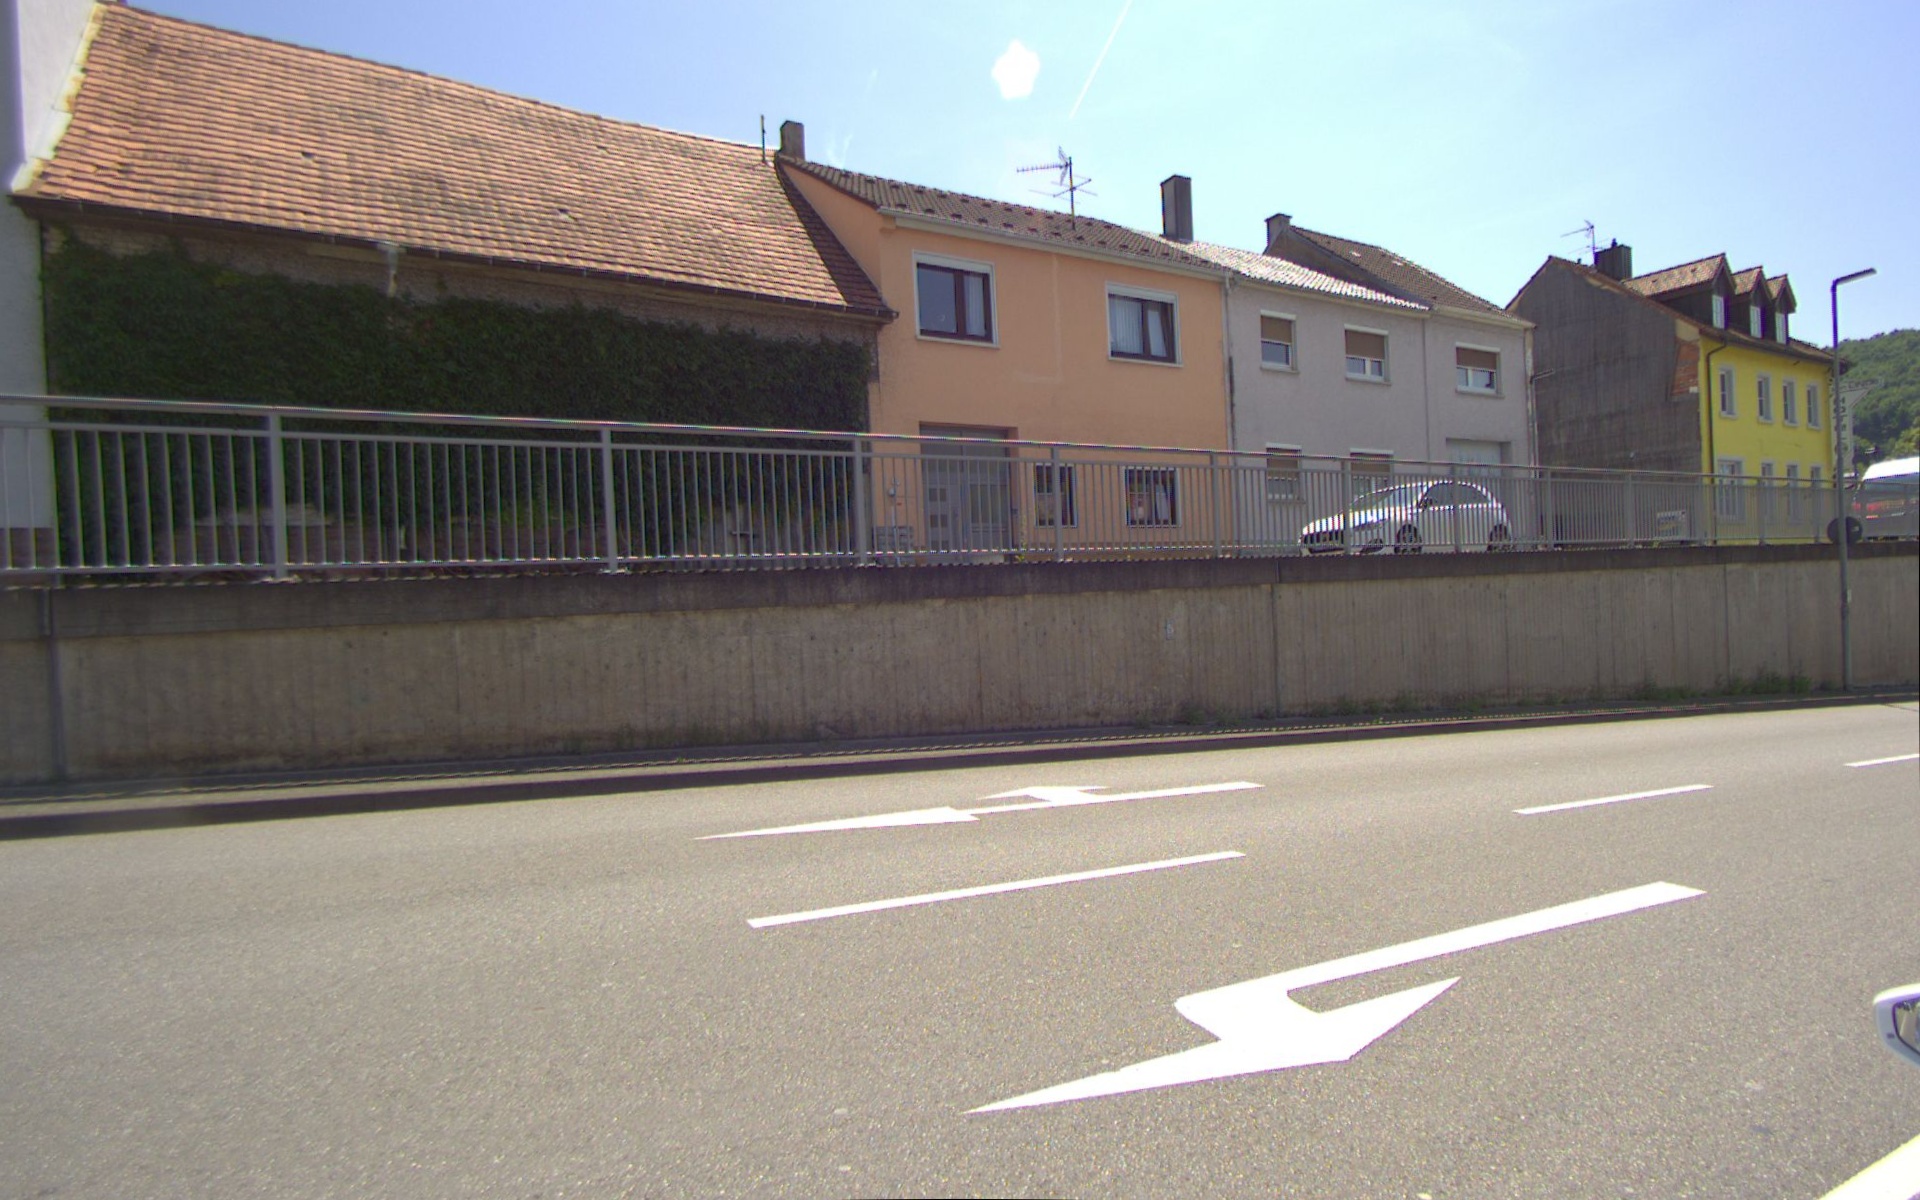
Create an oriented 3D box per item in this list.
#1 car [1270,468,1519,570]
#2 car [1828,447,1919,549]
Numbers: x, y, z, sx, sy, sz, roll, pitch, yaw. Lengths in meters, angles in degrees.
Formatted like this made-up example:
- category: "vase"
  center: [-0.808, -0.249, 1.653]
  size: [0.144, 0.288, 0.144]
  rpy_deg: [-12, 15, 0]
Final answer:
- category: "car"
  center: [7.388, -1.316, 16.956]
  size: [4.262, 1.482, 1.803]
  rpy_deg: [-3, 2, -33]
- category: "car"
  center: [26.701, -2.766, 27.993]
  size: [5.592, 2.571, 2.056]
  rpy_deg: [-2, 2, -29]
